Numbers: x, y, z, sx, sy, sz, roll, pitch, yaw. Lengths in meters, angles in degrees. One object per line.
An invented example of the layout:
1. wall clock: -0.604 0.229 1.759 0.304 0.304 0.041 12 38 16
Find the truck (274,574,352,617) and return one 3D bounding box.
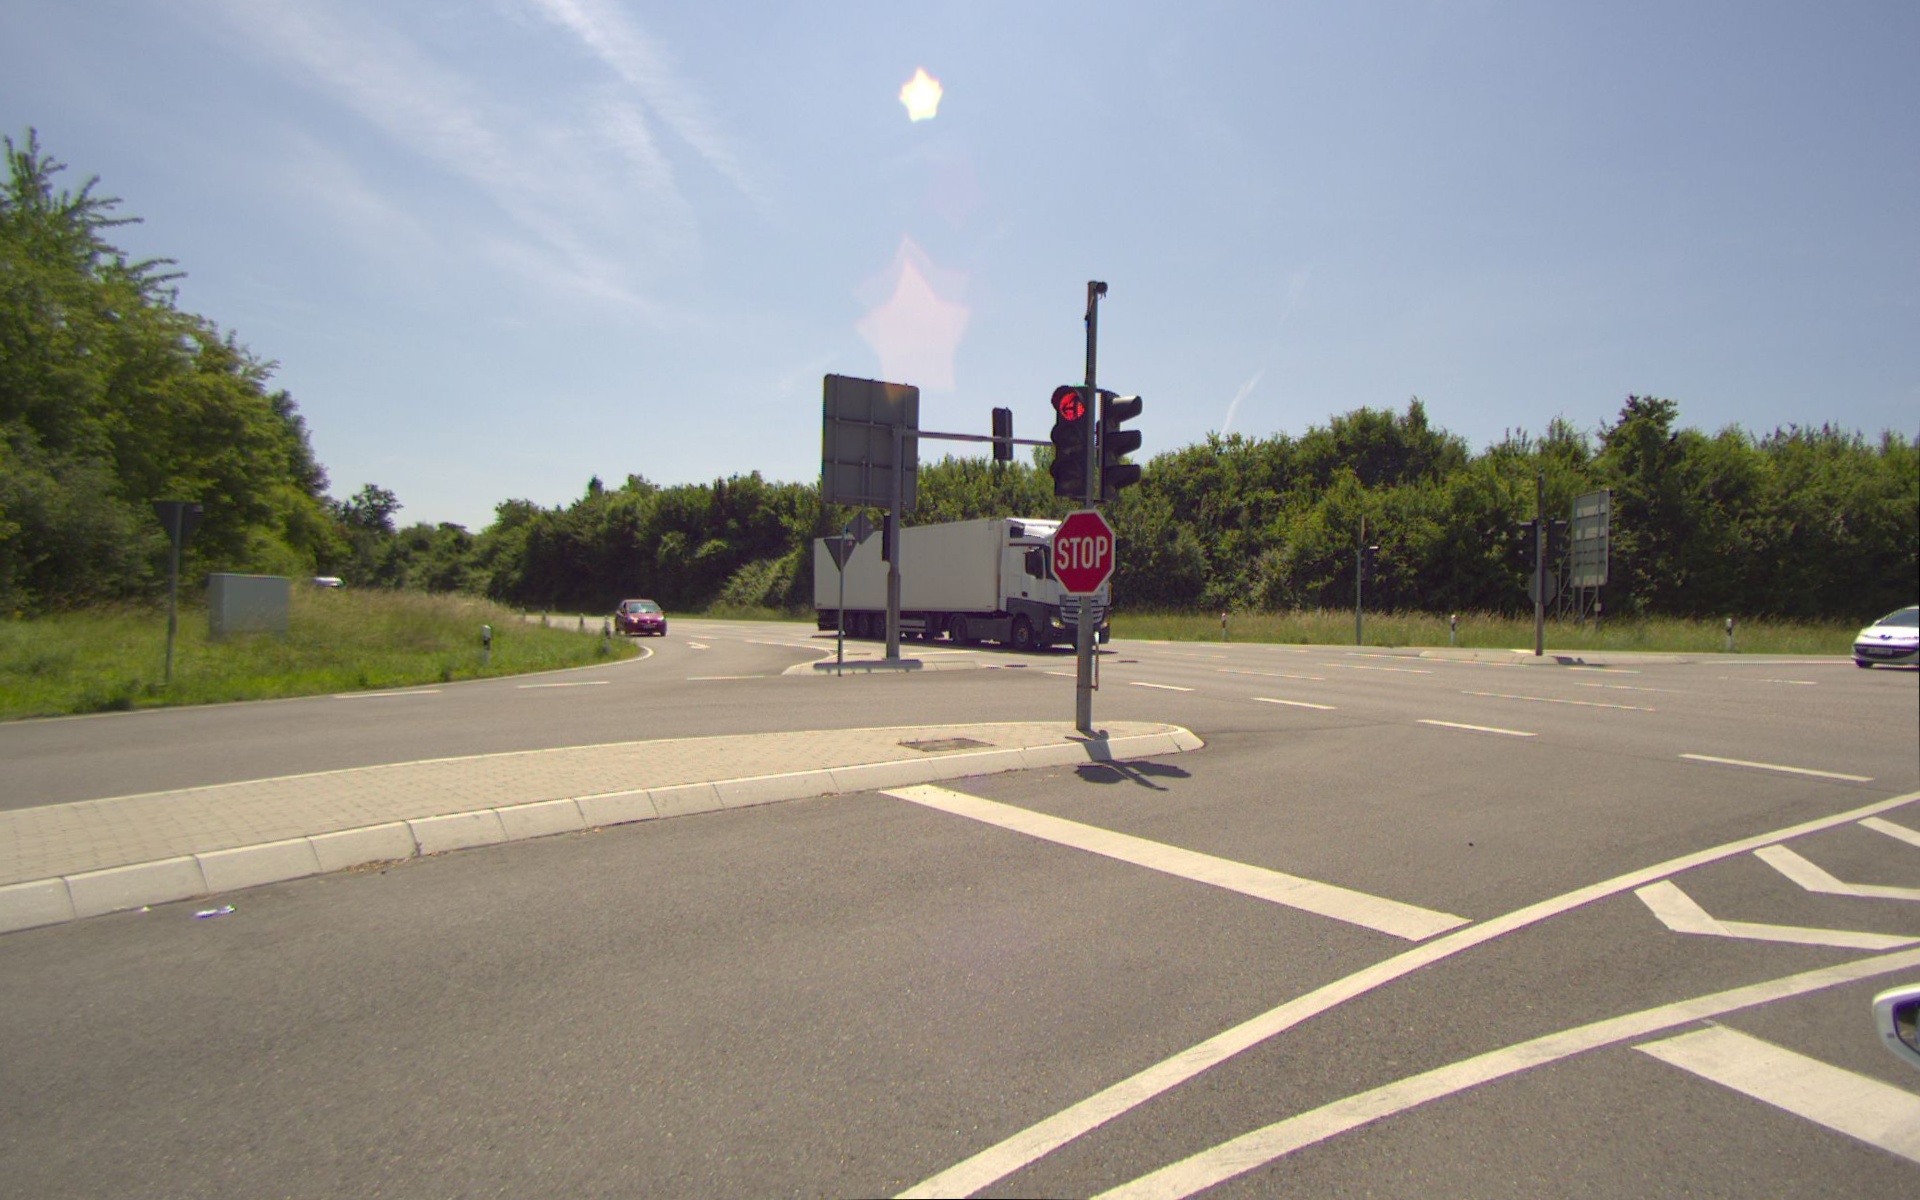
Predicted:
1. truck: -72.382 -0.425 112.086 16.218 4.506 3.127 -1 0 42

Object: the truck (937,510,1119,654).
1. truck: 1.992 -0.523 31.945 2.632 4.090 6.224 0 0 -33

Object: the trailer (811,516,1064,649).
1. trailer: -1.462 -0.583 37.339 2.632 4.090 13.710 0 1 -33

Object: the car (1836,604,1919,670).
1. car: 22.043 0.794 22.793 3.470 1.389 1.566 0 0 -13

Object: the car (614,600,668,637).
1. car: -13.730 0.767 43.077 1.531 1.519 3.804 1 0 -29
